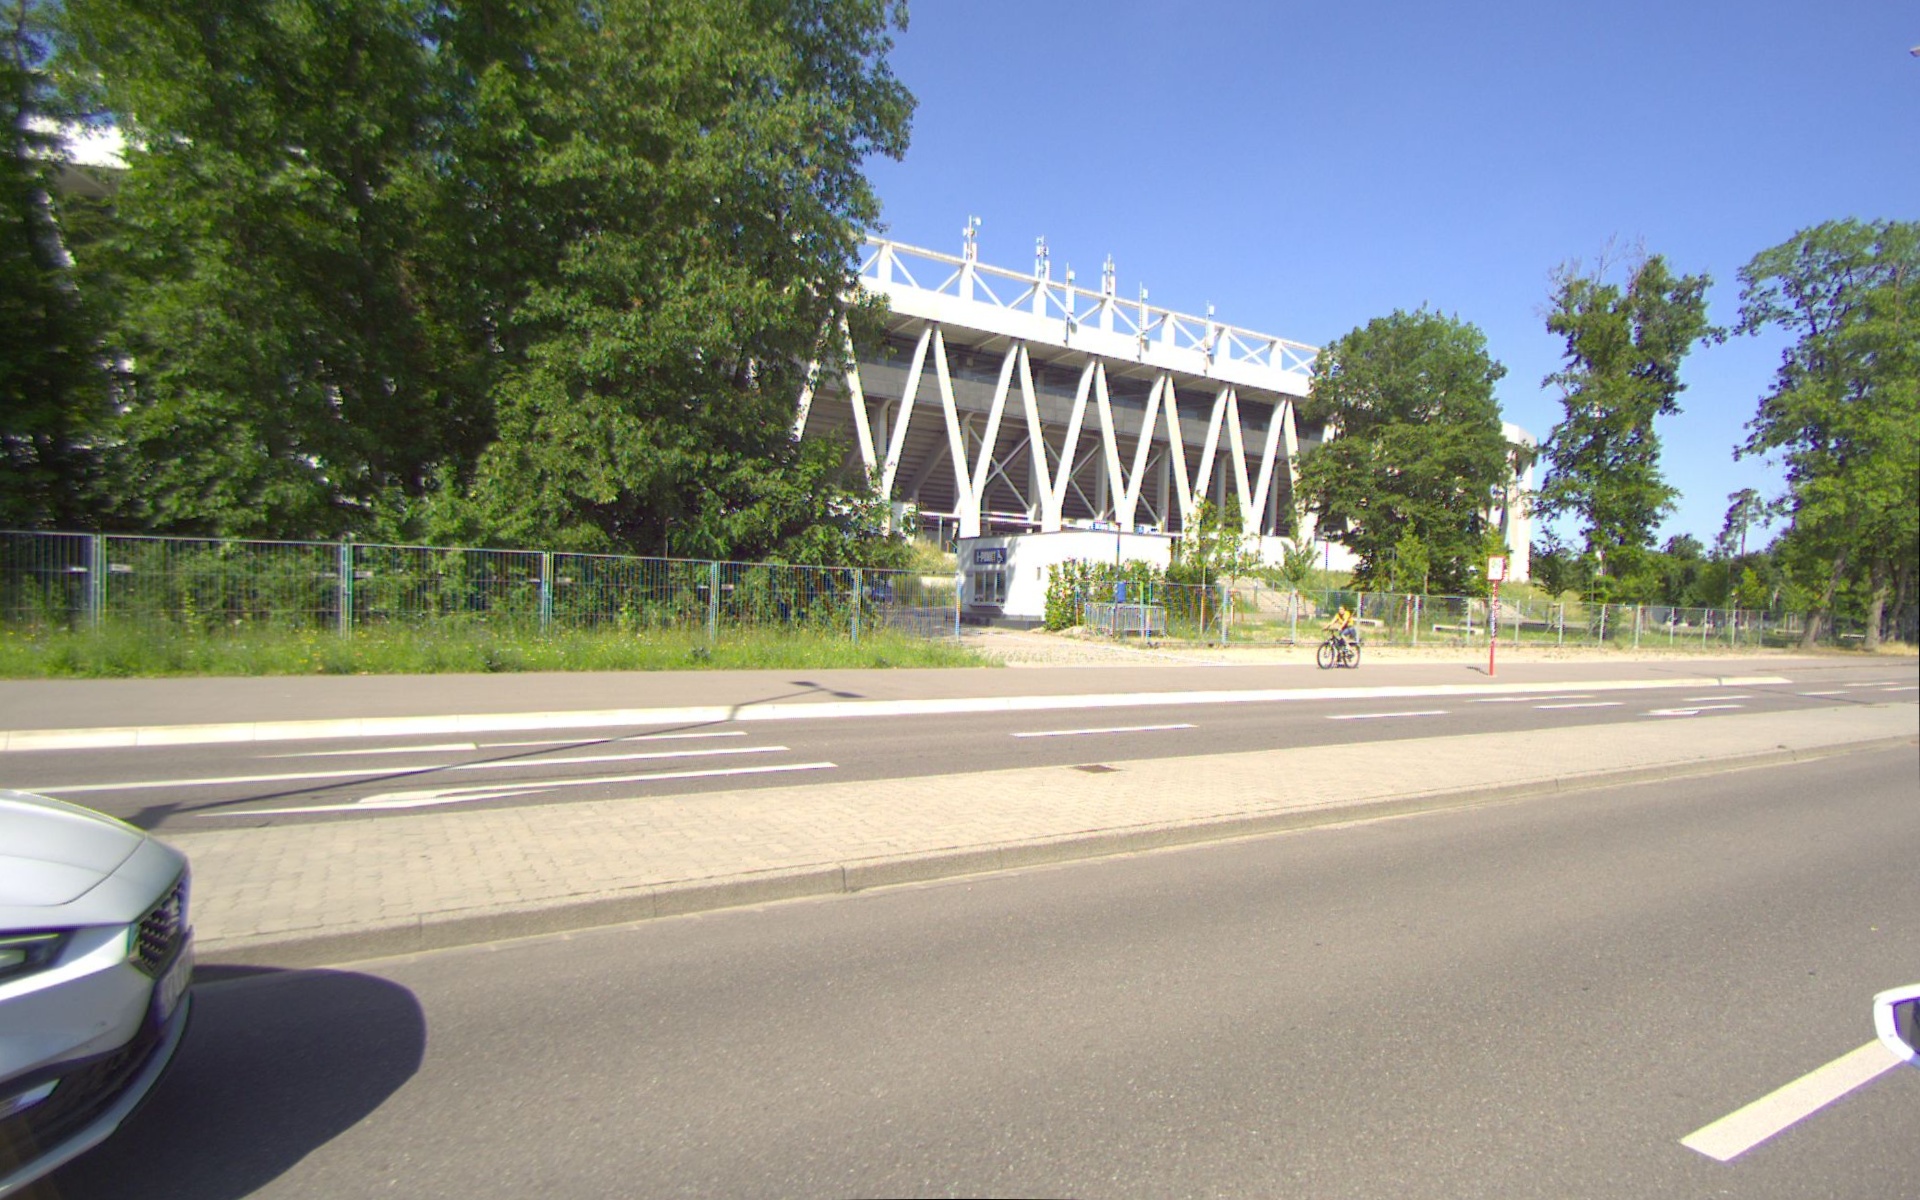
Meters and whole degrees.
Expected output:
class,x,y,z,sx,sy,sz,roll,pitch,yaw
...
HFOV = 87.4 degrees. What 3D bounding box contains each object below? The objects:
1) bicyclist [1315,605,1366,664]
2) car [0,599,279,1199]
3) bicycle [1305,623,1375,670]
class,x,y,z,sx,sy,sz,roll,pitch,yaw
bicyclist,9.852,0.890,26.012,1.045,1.487,0.656,1,2,-31
car,-3.946,0.682,1.534,4.666,1.446,1.716,1,-1,-31
bicycle,9.880,1.197,26.071,1.857,1.151,0.656,1,2,-32
